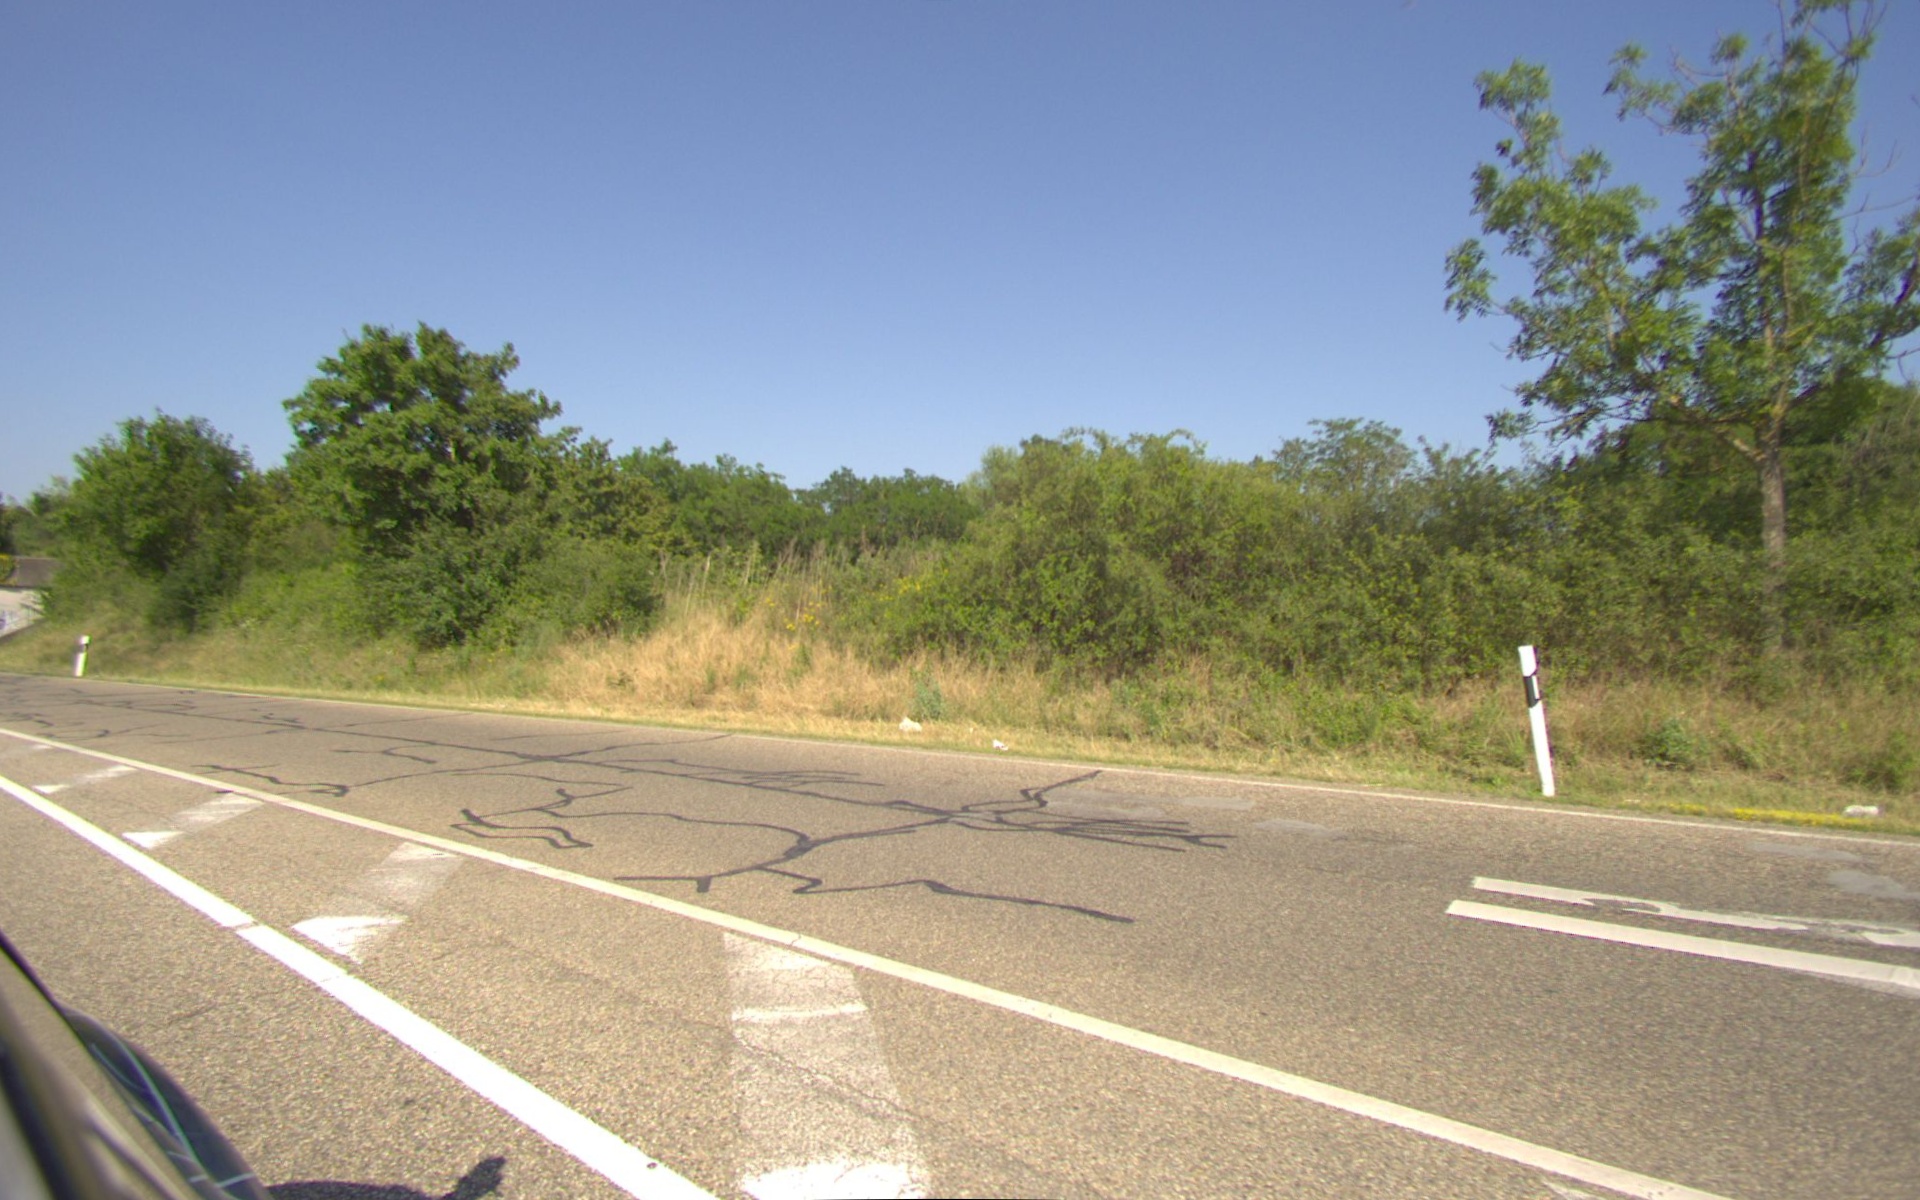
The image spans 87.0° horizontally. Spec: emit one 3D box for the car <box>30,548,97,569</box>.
[{"bbox_3d":[-82.583,-3.816,93.294,4.263,1.915,1.751,-1,0,-21],"label":"car"}]
